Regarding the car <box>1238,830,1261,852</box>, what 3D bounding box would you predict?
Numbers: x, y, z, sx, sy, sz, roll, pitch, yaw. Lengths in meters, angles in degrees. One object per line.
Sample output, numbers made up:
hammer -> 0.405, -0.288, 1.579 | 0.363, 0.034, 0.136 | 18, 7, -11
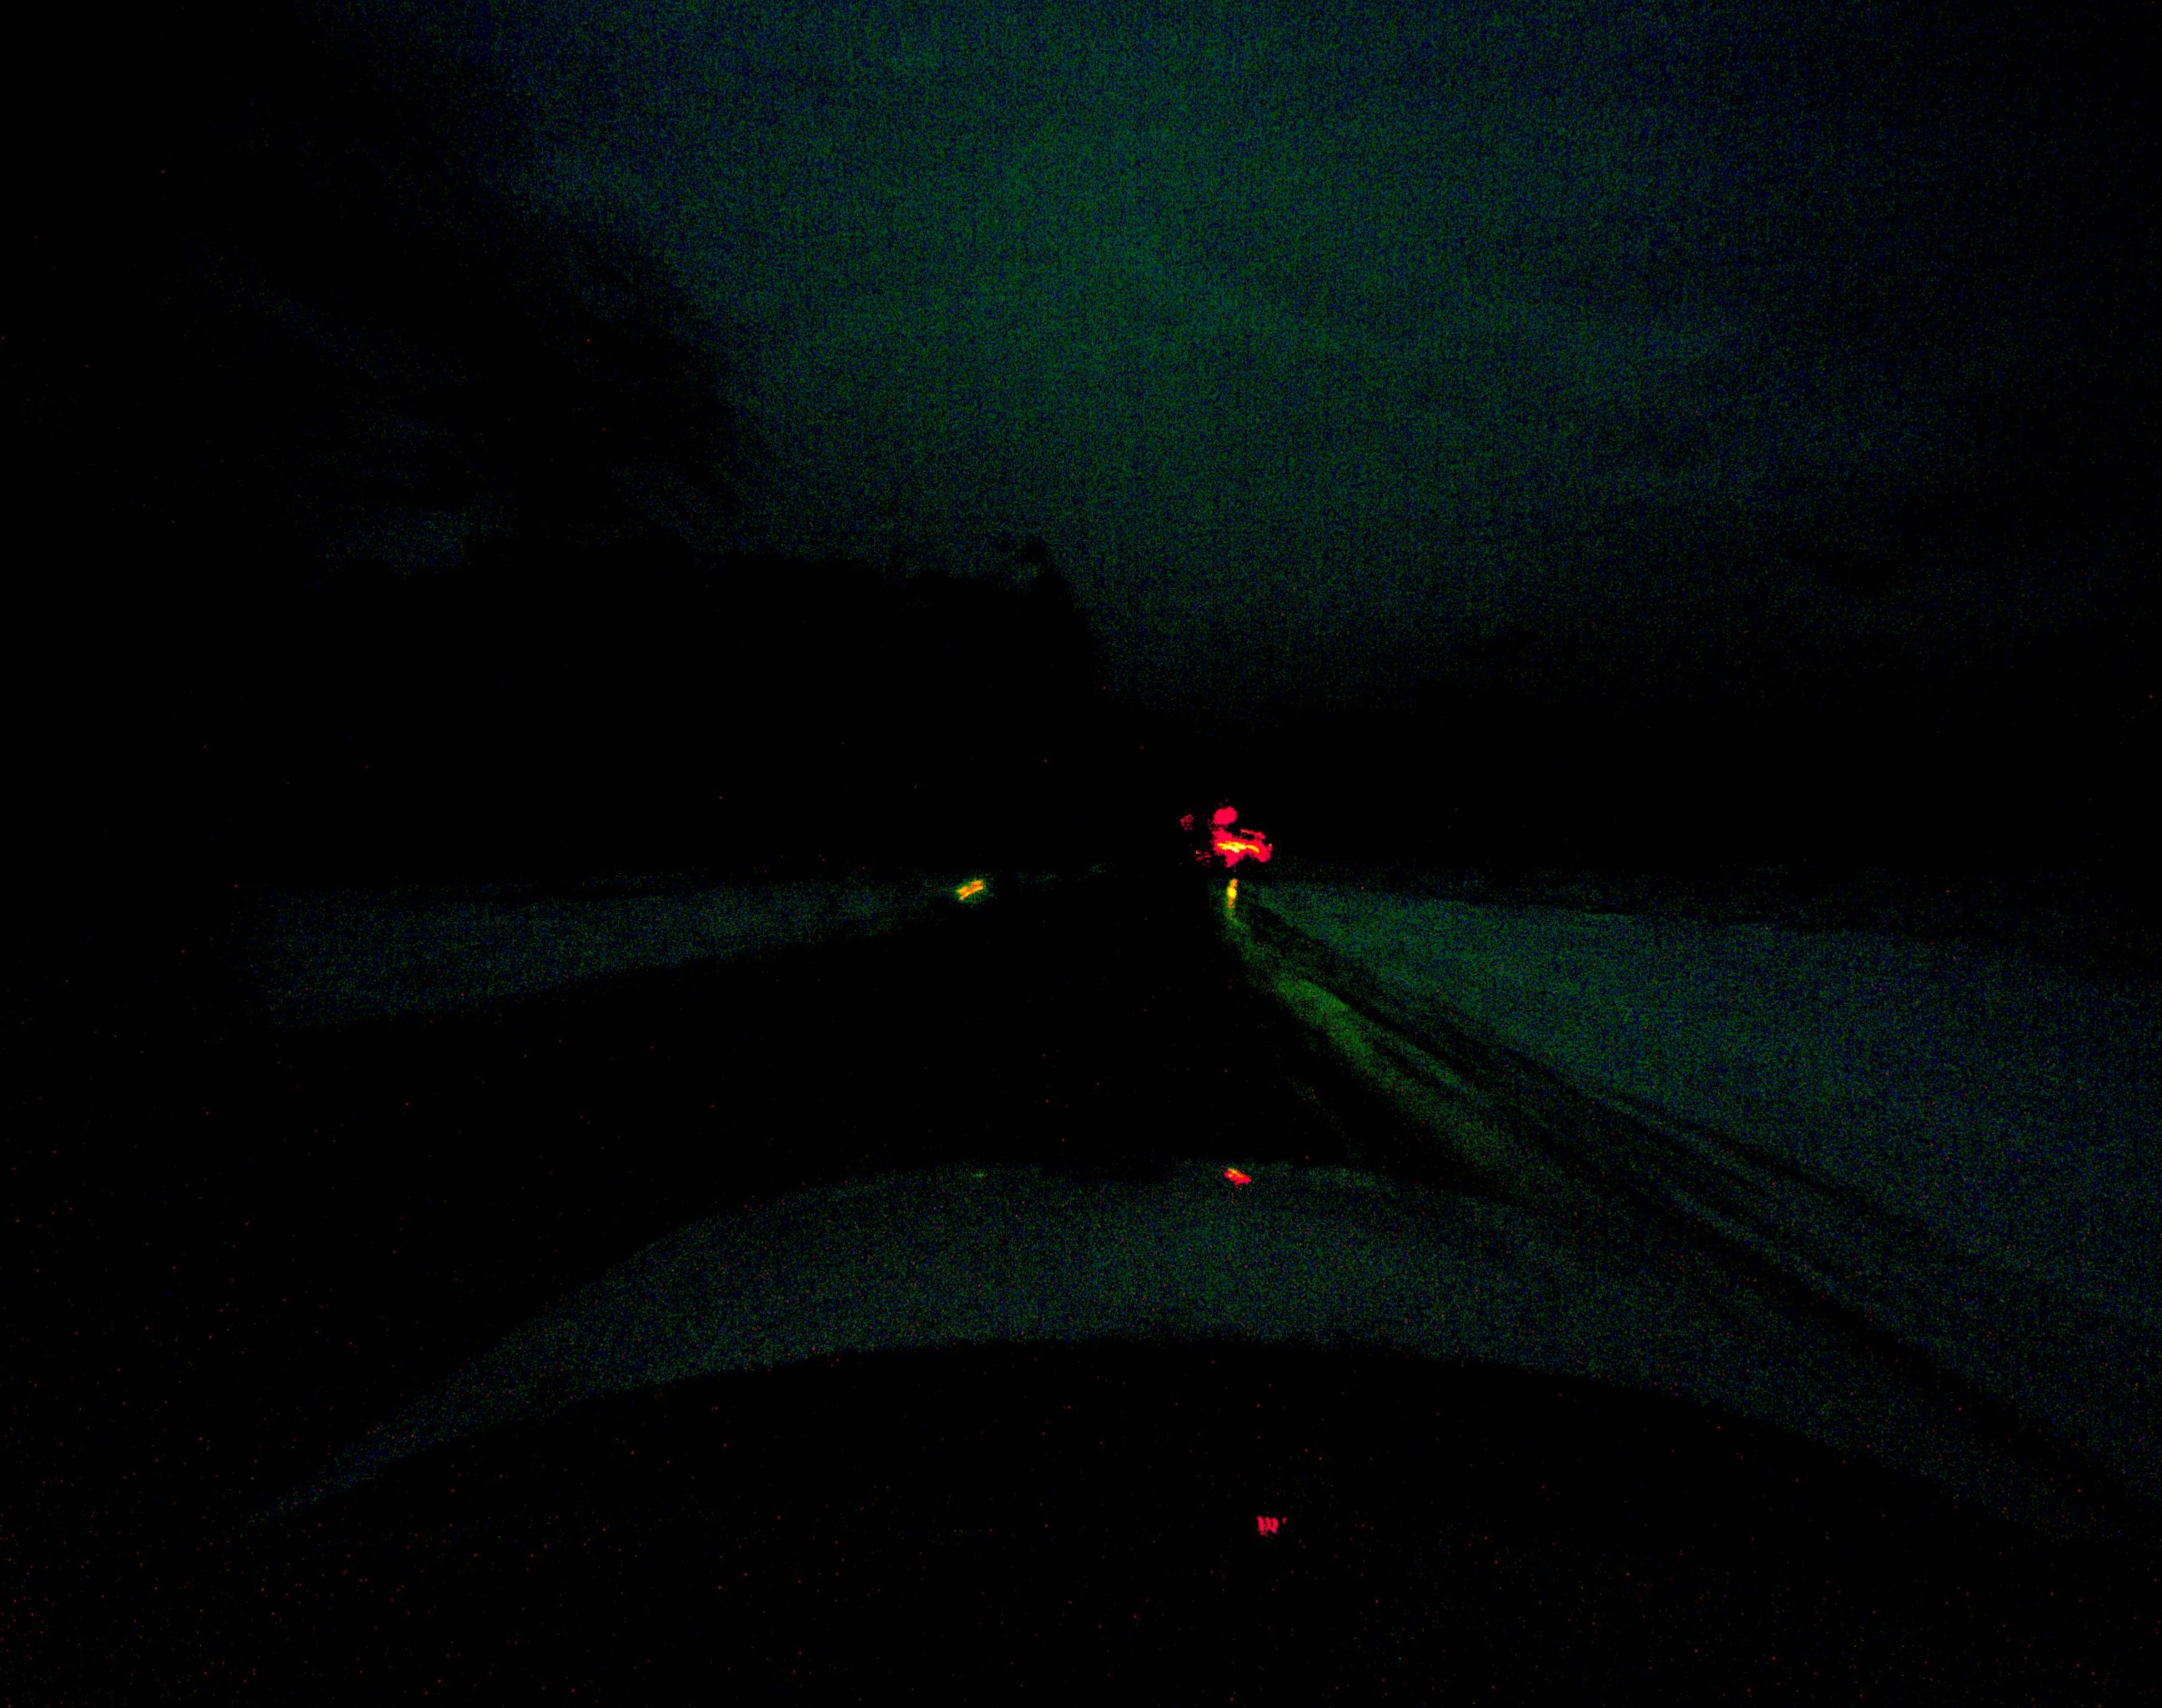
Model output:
car -> 21.683, -1.645, 104.667 | 2.234, 2.645, 5.029 | -1, 1, 17

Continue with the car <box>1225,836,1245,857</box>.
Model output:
car -> 16.135, -0.801, 85.205 | 1.981, 2.051, 4.013 | 1, 2, 11
